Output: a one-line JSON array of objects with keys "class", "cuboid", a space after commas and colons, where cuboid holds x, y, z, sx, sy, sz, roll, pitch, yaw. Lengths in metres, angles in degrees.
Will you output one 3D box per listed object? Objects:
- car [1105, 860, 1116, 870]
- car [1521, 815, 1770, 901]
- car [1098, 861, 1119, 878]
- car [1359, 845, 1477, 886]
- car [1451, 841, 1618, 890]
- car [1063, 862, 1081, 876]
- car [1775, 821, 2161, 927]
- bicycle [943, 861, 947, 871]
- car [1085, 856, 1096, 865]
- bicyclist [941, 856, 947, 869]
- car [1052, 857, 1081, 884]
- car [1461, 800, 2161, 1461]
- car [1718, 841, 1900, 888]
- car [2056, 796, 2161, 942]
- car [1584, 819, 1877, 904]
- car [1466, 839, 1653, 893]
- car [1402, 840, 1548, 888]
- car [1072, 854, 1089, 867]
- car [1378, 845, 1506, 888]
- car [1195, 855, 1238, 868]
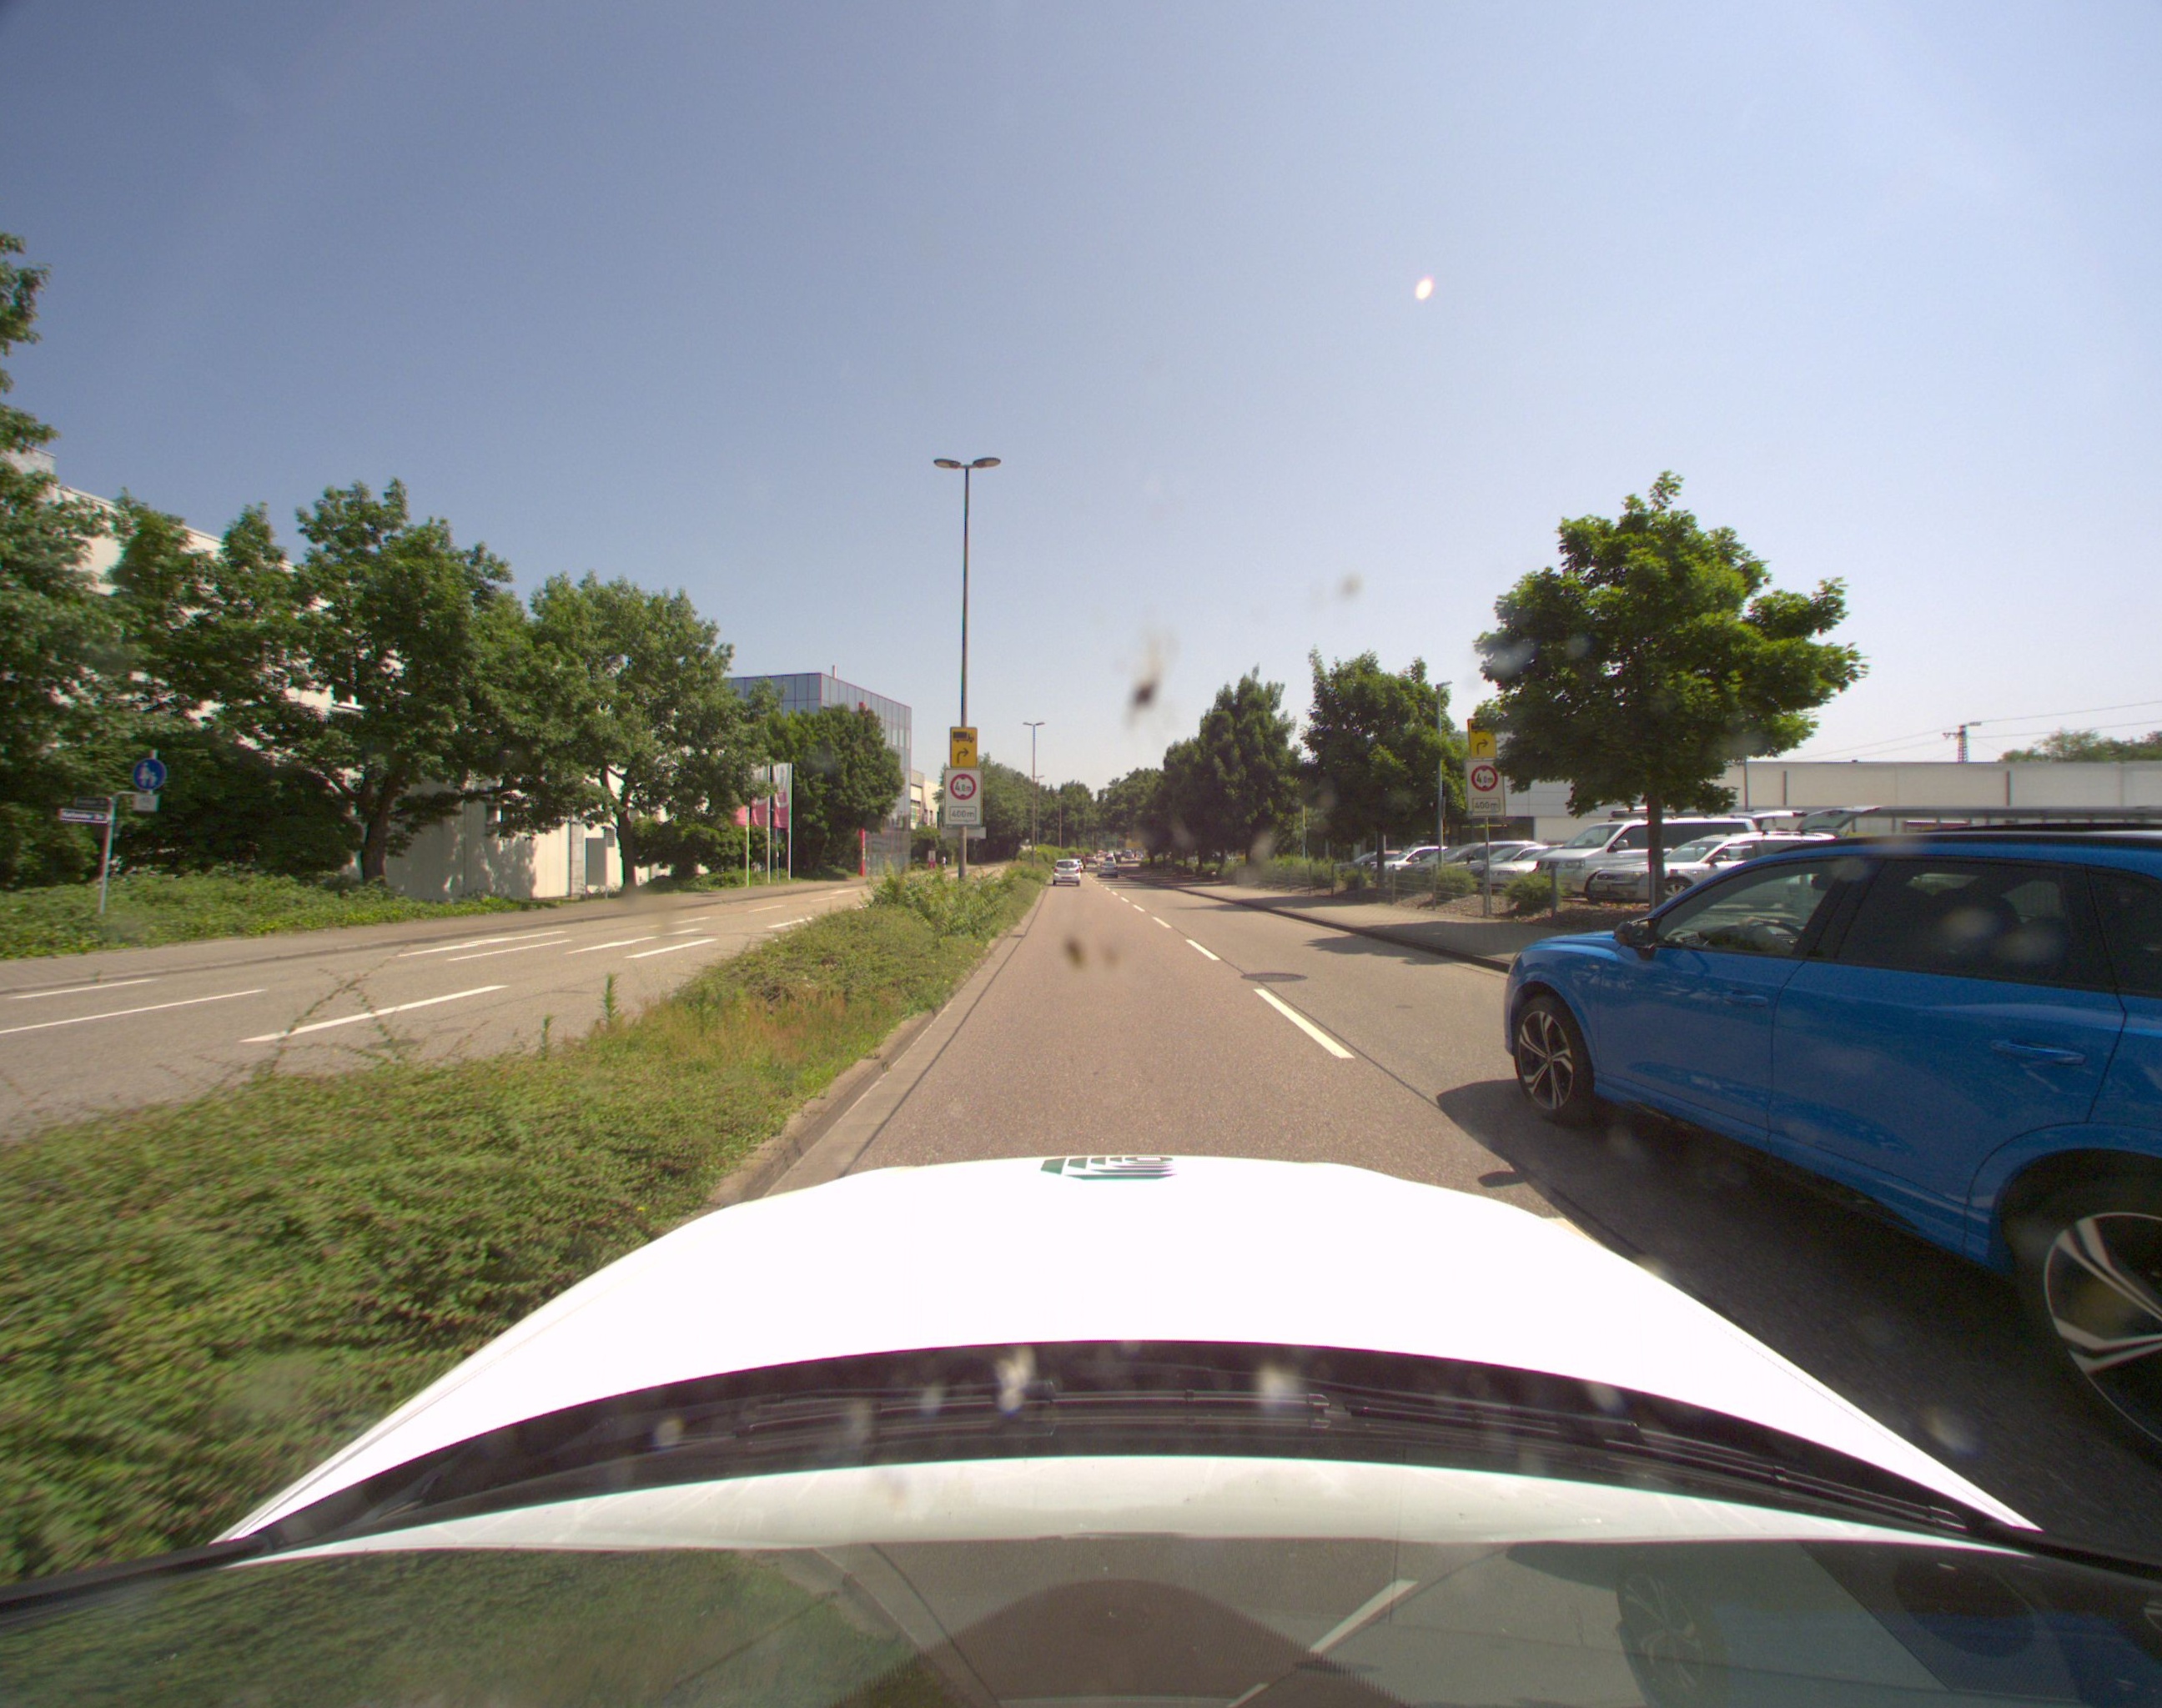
[{"class": "car", "cuboid": [4.277, 1.588, 118.669, 1.437, 1.348, 3.458, -1, 0, -1]}, {"class": "car", "cuboid": [13.107, 0.092, 19.101, 4.601, 1.924, 1.827, 0, 0, 0]}, {"class": "car", "cuboid": [2.430, 1.342, 73.145, 1.859, 1.473, 4.001, 1, -1, 1]}, {"class": "car", "cuboid": [13.452, 0.455, 32.641, 3.979, 1.596, 1.824, 1, -1, -4]}, {"class": "car", "cuboid": [13.405, 0.326, 24.214, 3.974, 1.389, 1.827, 0, 0, 0]}, {"class": "car", "cuboid": [-0.990, 1.581, 87.281, 1.879, 1.354, 3.998, 1, -1, -1]}, {"class": "car", "cuboid": [12.722, 0.272, 11.768, 3.983, 1.421, 1.697, 0, 0, 0]}, {"class": "bicycle", "cuboid": [-15.413, 1.355, 92.289, 0.345, 1.067, 0.922, -2, -1, -1]}, {"class": "car", "cuboid": [1.479, 1.007, 127.216, 1.483, 1.392, 3.306, 1, -1, -1]}, {"class": "bicyclist", "cuboid": [-15.539, 0.961, 92.255, 0.543, 1.509, 0.343, -2, -1, -1]}, {"class": "car", "cuboid": [-0.821, 0.985, 48.650, 1.633, 1.552, 3.325, 1, -1, 0]}, {"class": "car", "cuboid": [3.501, 0.636, 3.394, 1.802, 1.593, 4.350, -3, 0, 1]}, {"class": "car", "cuboid": [24.422, 0.325, 27.617, 1.792, 1.420, 4.919, -1, 0, 0]}, {"class": "car", "cuboid": [13.179, 0.154, 8.794, 3.585, 1.537, 1.719, 0, 0, -7]}, {"class": "car", "cuboid": [12.751, 0.140, 16.217, 4.349, 1.593, 1.828, 0, 0, 2]}, {"class": "car", "cuboid": [12.727, 0.303, 21.852, 3.974, 1.389, 1.827, 0, 0, 0]}, {"class": "car", "cuboid": [12.977, 0.356, 26.995, 3.974, 1.534, 1.827, 0, -2, 0]}, {"class": "car", "cuboid": [-0.061, 0.797, 103.980, 1.876, 1.608, 4.005, -2, 0, 4]}, {"class": "car", "cuboid": [13.331, 0.476, 30.211, 3.981, 1.534, 1.823, 0, -2, -5]}, {"class": "car", "cuboid": [15.118, 0.902, 91.092, 1.961, 1.352, 4.664, -1, -1, -35]}]
